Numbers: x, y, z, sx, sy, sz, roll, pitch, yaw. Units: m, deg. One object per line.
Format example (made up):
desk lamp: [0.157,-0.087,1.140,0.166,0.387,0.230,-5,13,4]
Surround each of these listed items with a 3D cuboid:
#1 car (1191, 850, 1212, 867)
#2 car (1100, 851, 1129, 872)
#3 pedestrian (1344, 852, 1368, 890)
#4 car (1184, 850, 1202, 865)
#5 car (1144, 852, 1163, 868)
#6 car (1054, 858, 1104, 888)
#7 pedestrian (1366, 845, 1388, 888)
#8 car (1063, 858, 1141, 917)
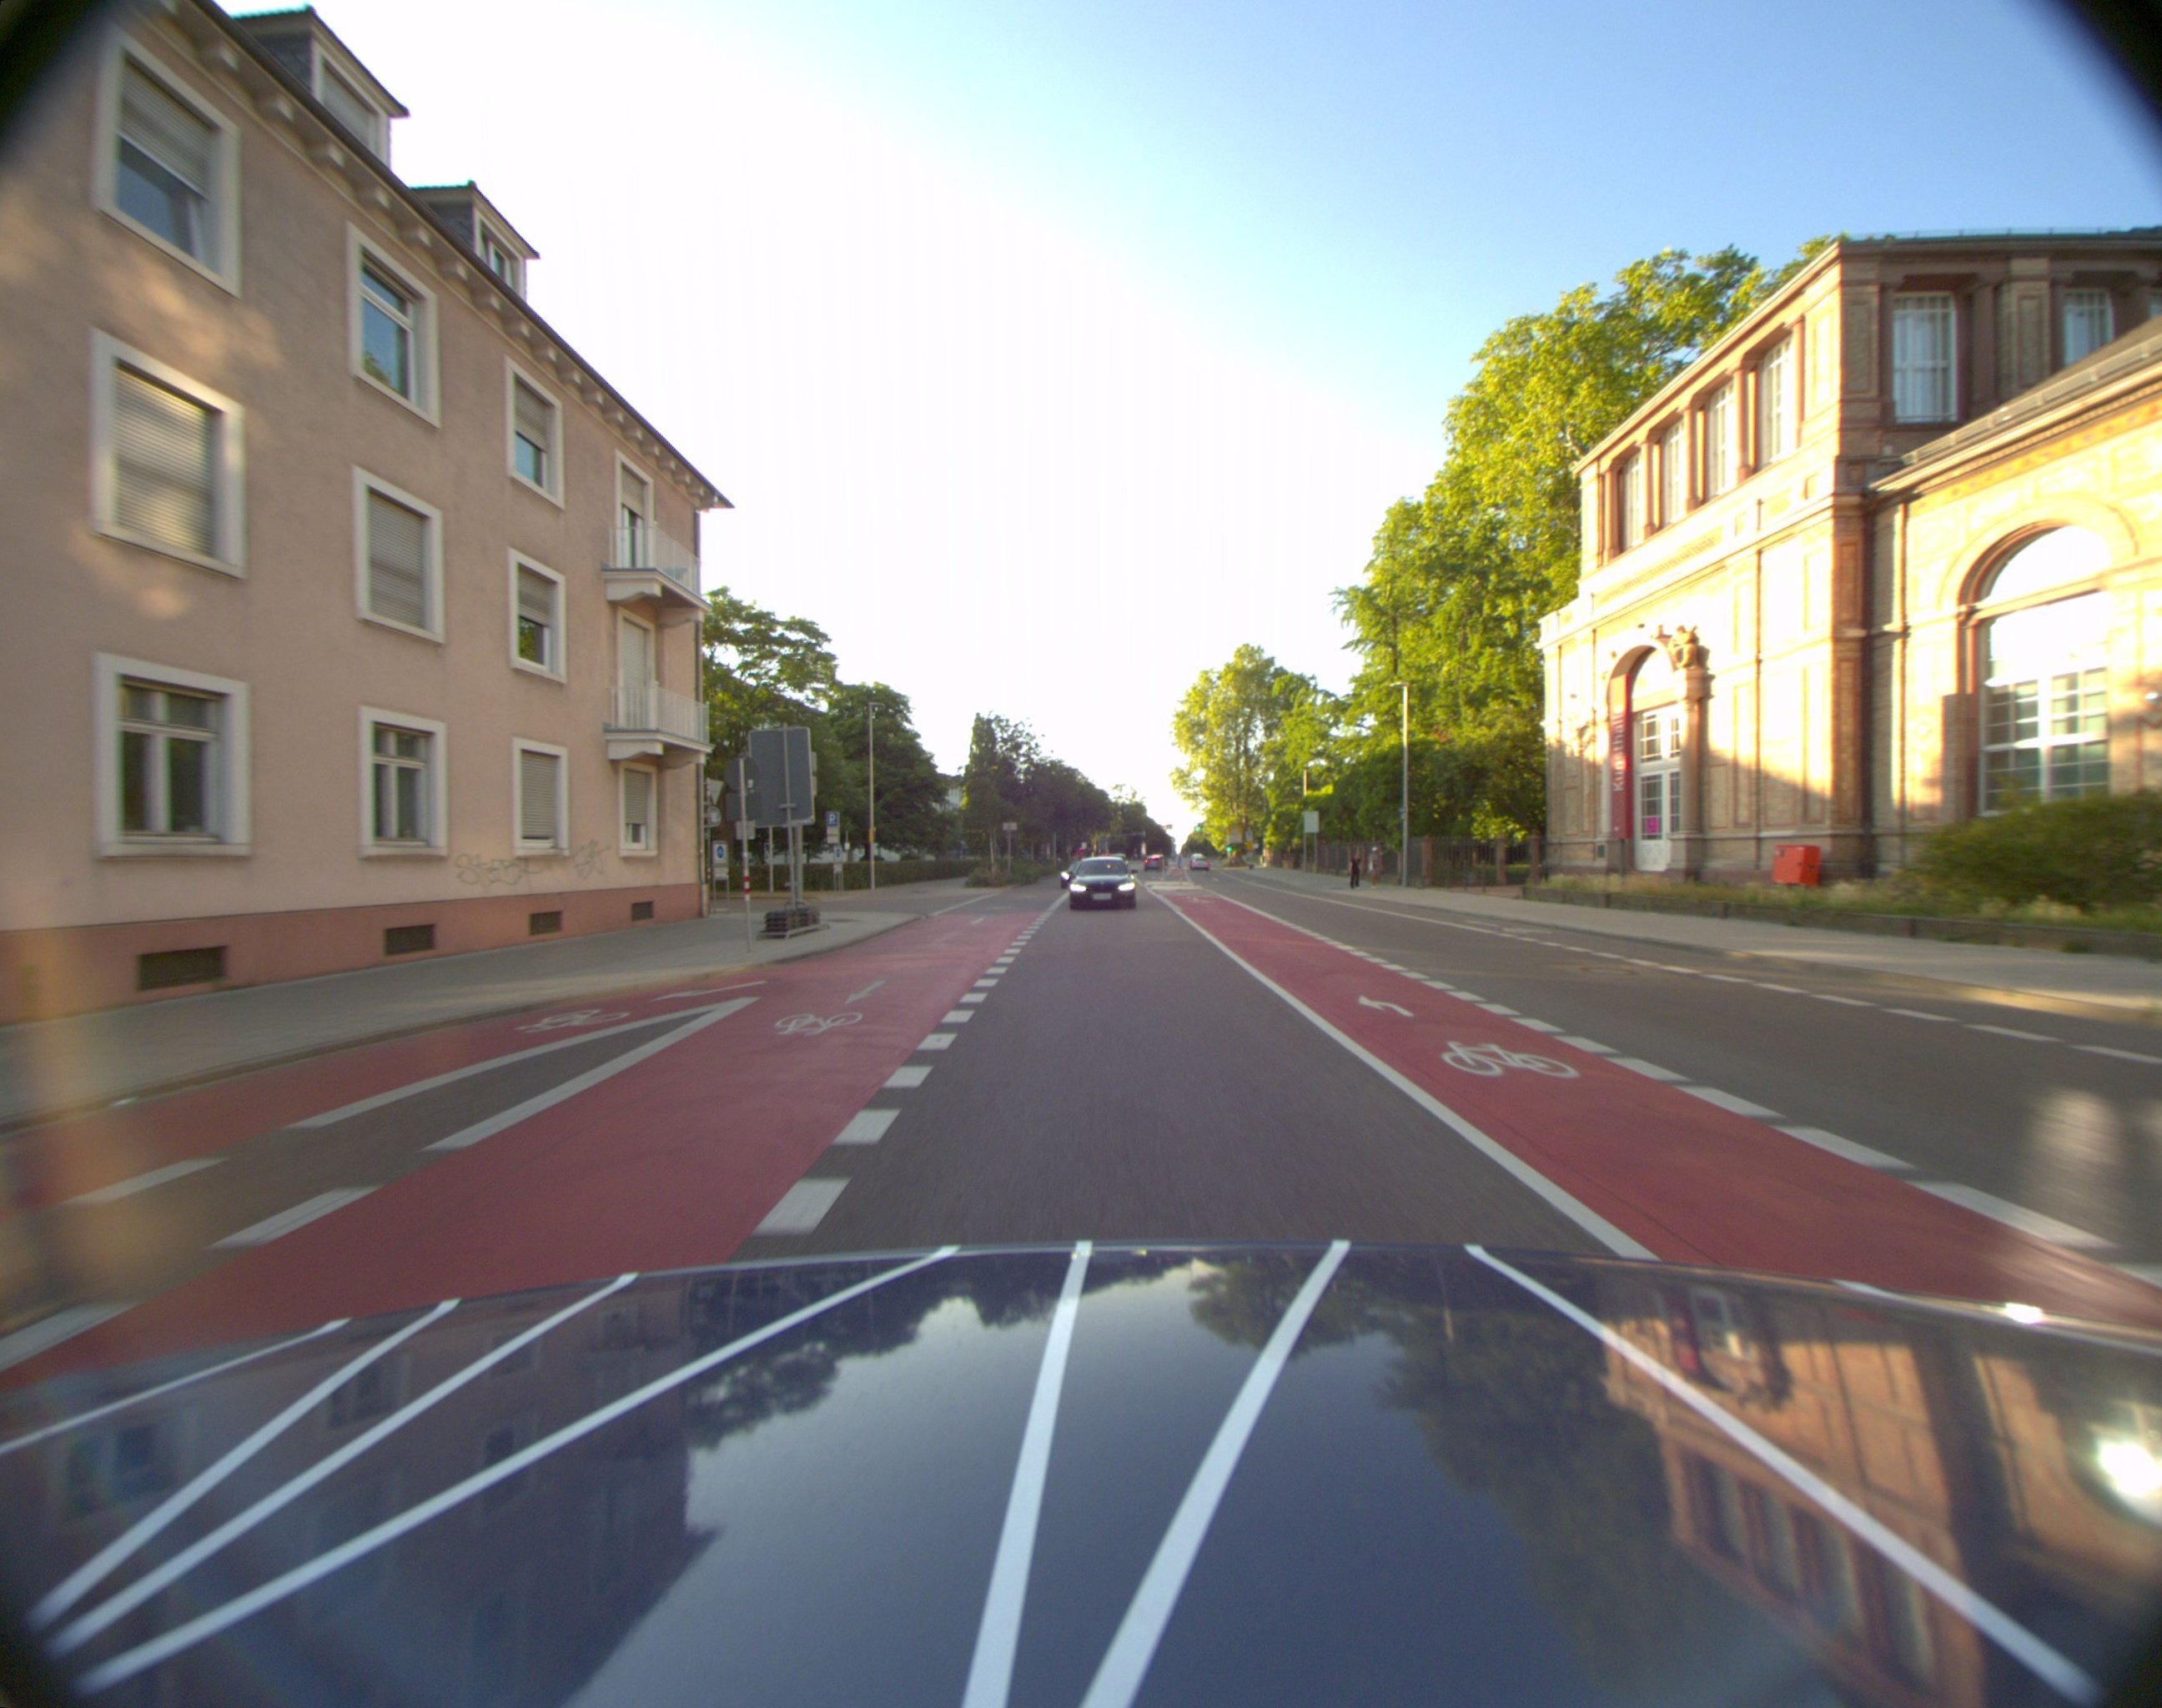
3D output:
car: [12.408,0.468,78.352,1.920,1.674,4.002,-1,0,7]
car: [2.798,0.603,64.204,1.839,1.674,4.221,-2,1,-4]
pedestrian: [11.440,0.690,31.654,0.675,1.504,0.836,-5,0,7]
car: [12.850,0.381,87.316,1.997,1.674,4.002,-1,0,7]
car: [7.062,0.532,73.969,1.775,1.455,4.001,1,0,4]
car: [-0.024,0.896,38.028,2.183,1.293,4.358,-3,0,3]
pedestrian: [12.225,0.518,31.378,0.807,1.728,0.851,-1,1,24]
car: [0.608,0.862,21.587,1.964,1.379,4.781,-1,1,2]
